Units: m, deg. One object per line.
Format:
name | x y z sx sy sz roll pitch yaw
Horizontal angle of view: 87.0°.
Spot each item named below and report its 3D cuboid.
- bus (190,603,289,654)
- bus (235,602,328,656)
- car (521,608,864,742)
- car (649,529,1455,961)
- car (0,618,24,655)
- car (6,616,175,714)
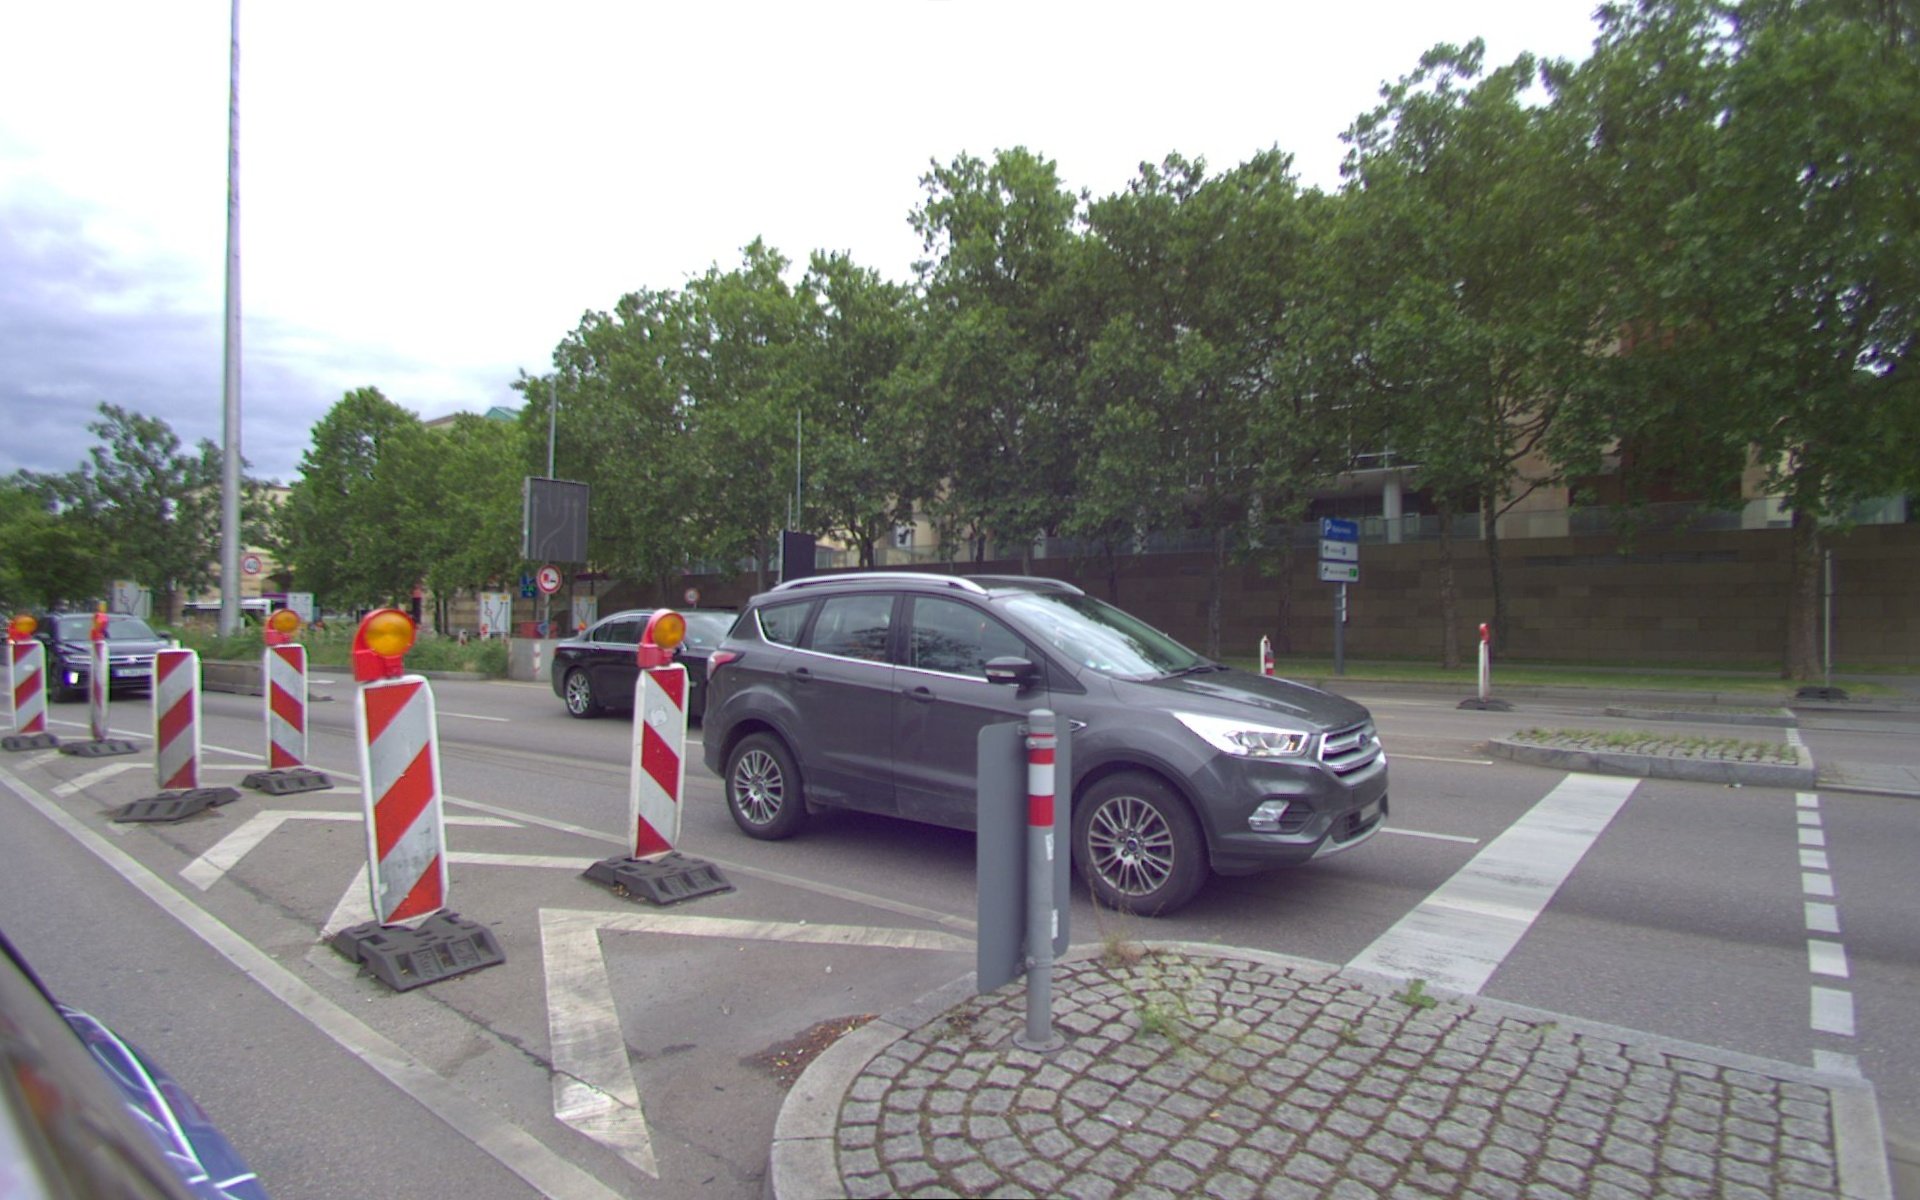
bus | -50.948 1.981 71.405 10.436 3.330 2.884 -1 -2 39
bus | -44.374 1.874 66.100 7.698 3.329 2.894 -1 -2 39
car | -3.708 0.888 13.567 4.803 1.494 1.974 -1 -2 38
car | 0.294 0.625 6.226 4.651 1.728 1.876 -2 -1 38
car | -40.802 1.524 42.115 4.803 1.494 1.974 -1 -2 38
car | -15.931 1.084 18.478 4.150 1.527 1.745 0 0 41
